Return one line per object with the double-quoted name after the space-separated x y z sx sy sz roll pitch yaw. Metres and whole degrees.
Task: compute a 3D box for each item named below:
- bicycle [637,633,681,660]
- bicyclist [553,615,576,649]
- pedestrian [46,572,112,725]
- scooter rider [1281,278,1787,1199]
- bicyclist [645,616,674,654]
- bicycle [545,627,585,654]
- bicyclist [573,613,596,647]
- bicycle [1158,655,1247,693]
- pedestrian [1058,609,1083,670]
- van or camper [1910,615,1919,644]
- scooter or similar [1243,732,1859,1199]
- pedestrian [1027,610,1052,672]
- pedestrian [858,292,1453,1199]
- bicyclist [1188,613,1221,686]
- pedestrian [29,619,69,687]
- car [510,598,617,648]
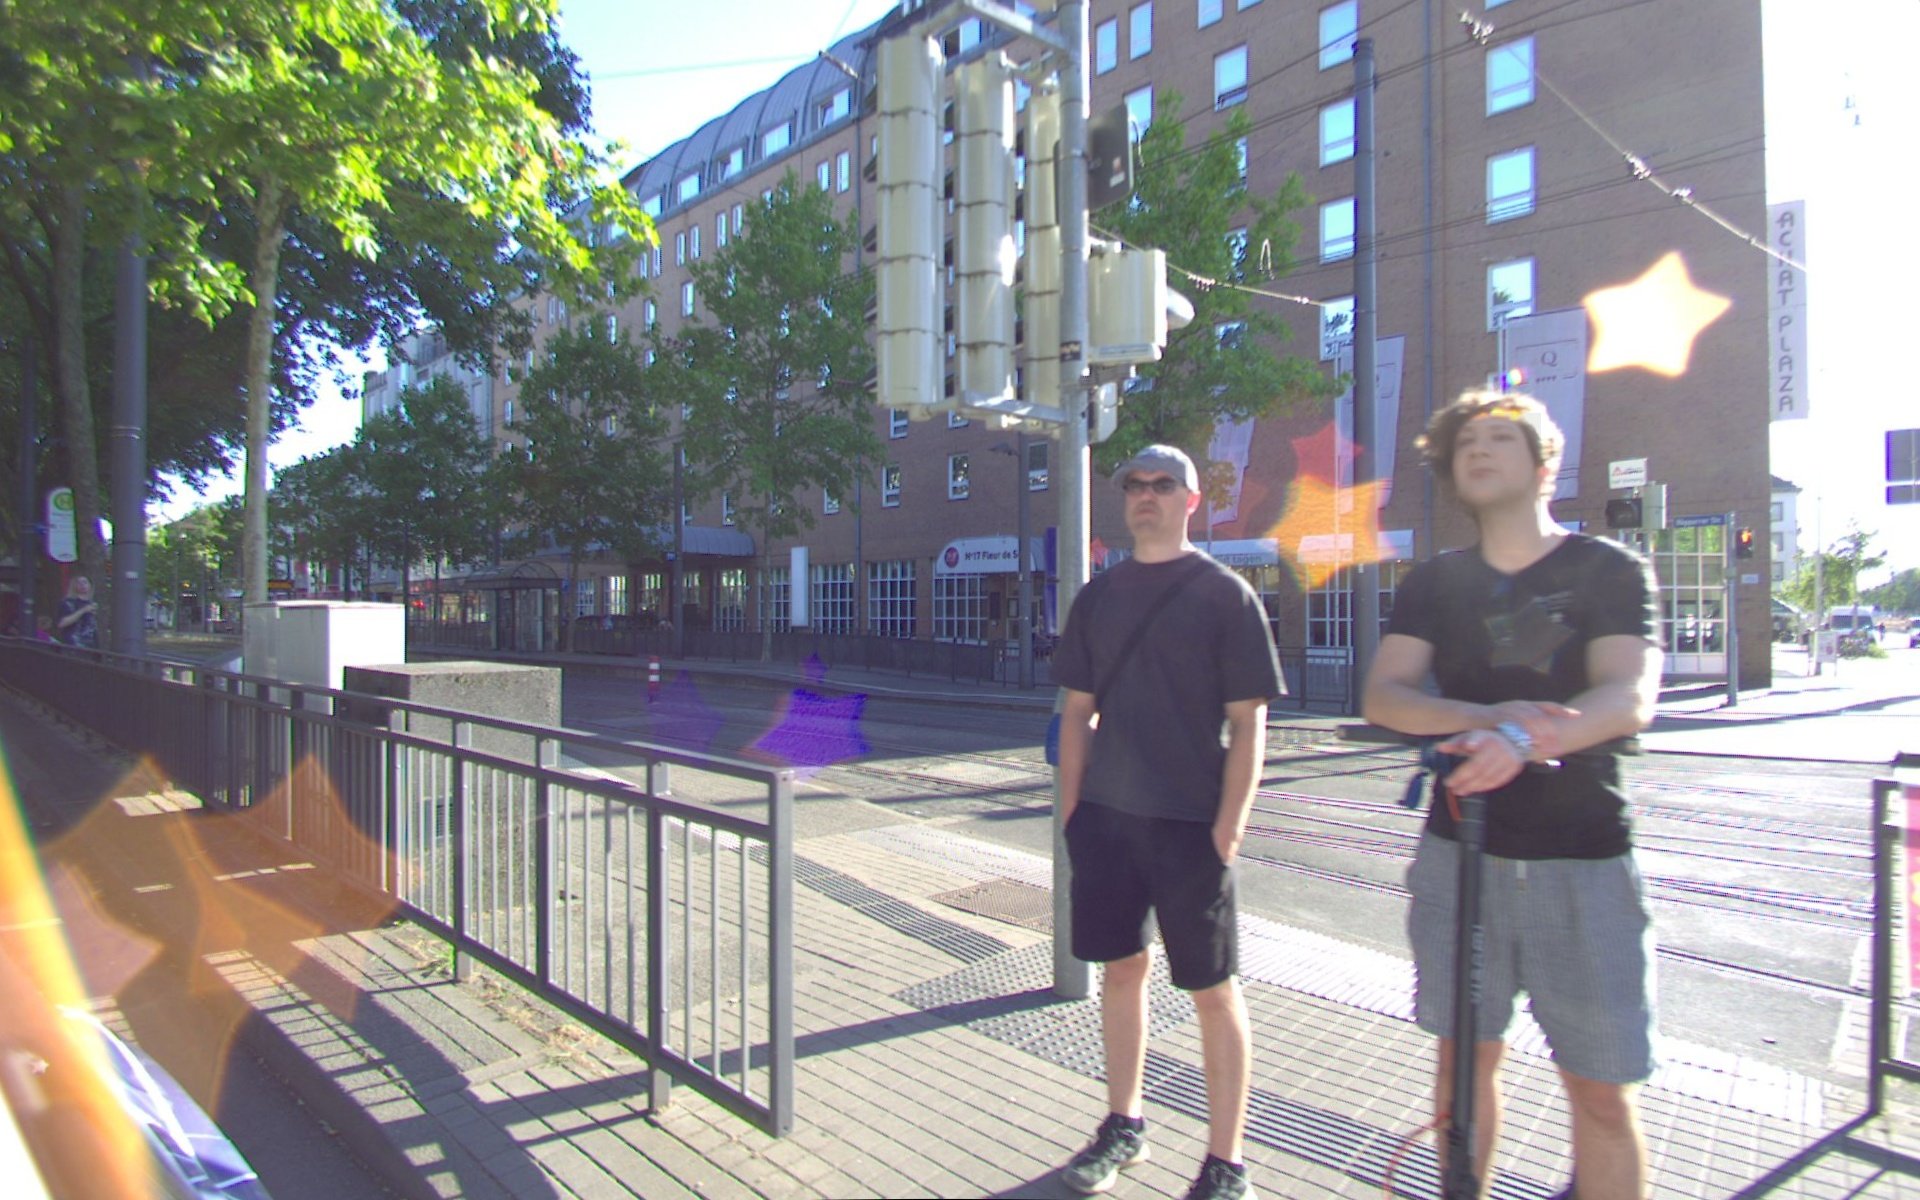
-12.125 1.859 40.702 2.009 1.058 0.646 -1 0 37 "bicycle"
-18.299 1.486 46.848 0.757 1.572 0.676 -4 -3 34 "bicyclist"
-10.917 0.582 12.544 0.524 1.848 0.536 -1 0 43 "pedestrian"
1.066 0.466 1.904 0.559 1.867 0.680 1 0 -44 "scooter rider"
-12.104 1.398 40.724 1.031 1.485 0.647 -1 -1 37 "bicyclist"
-18.303 1.881 46.839 2.105 1.151 0.679 -4 -3 35 "bicycle"
-17.496 1.401 47.143 0.757 1.586 0.655 -1 -2 34 "bicyclist"
5.529 1.678 23.162 1.968 0.777 0.583 -1 -2 44 "bicycle"
3.218 1.154 29.486 0.437 1.748 0.545 1 -2 -41 "pedestrian"
63.570 1.941 65.869 2.012 1.741 4.601 -1 0 37 "van or camper"
1.099 0.852 1.789 1.188 1.089 0.649 1 -2 -45 "scooter or similar"
2.292 1.169 29.071 0.472 1.748 0.545 1 -2 -41 "pedestrian"
0.480 0.453 2.370 1.153 1.898 0.855 1 -2 -44 "pedestrian"
5.587 1.123 23.118 0.515 1.638 0.580 -2 -2 44 "bicyclist"
-18.270 1.047 20.301 0.534 1.327 0.525 -1 0 -37 "pedestrian"
-14.949 0.847 38.129 3.991 1.775 1.852 -1 0 35 "car"
